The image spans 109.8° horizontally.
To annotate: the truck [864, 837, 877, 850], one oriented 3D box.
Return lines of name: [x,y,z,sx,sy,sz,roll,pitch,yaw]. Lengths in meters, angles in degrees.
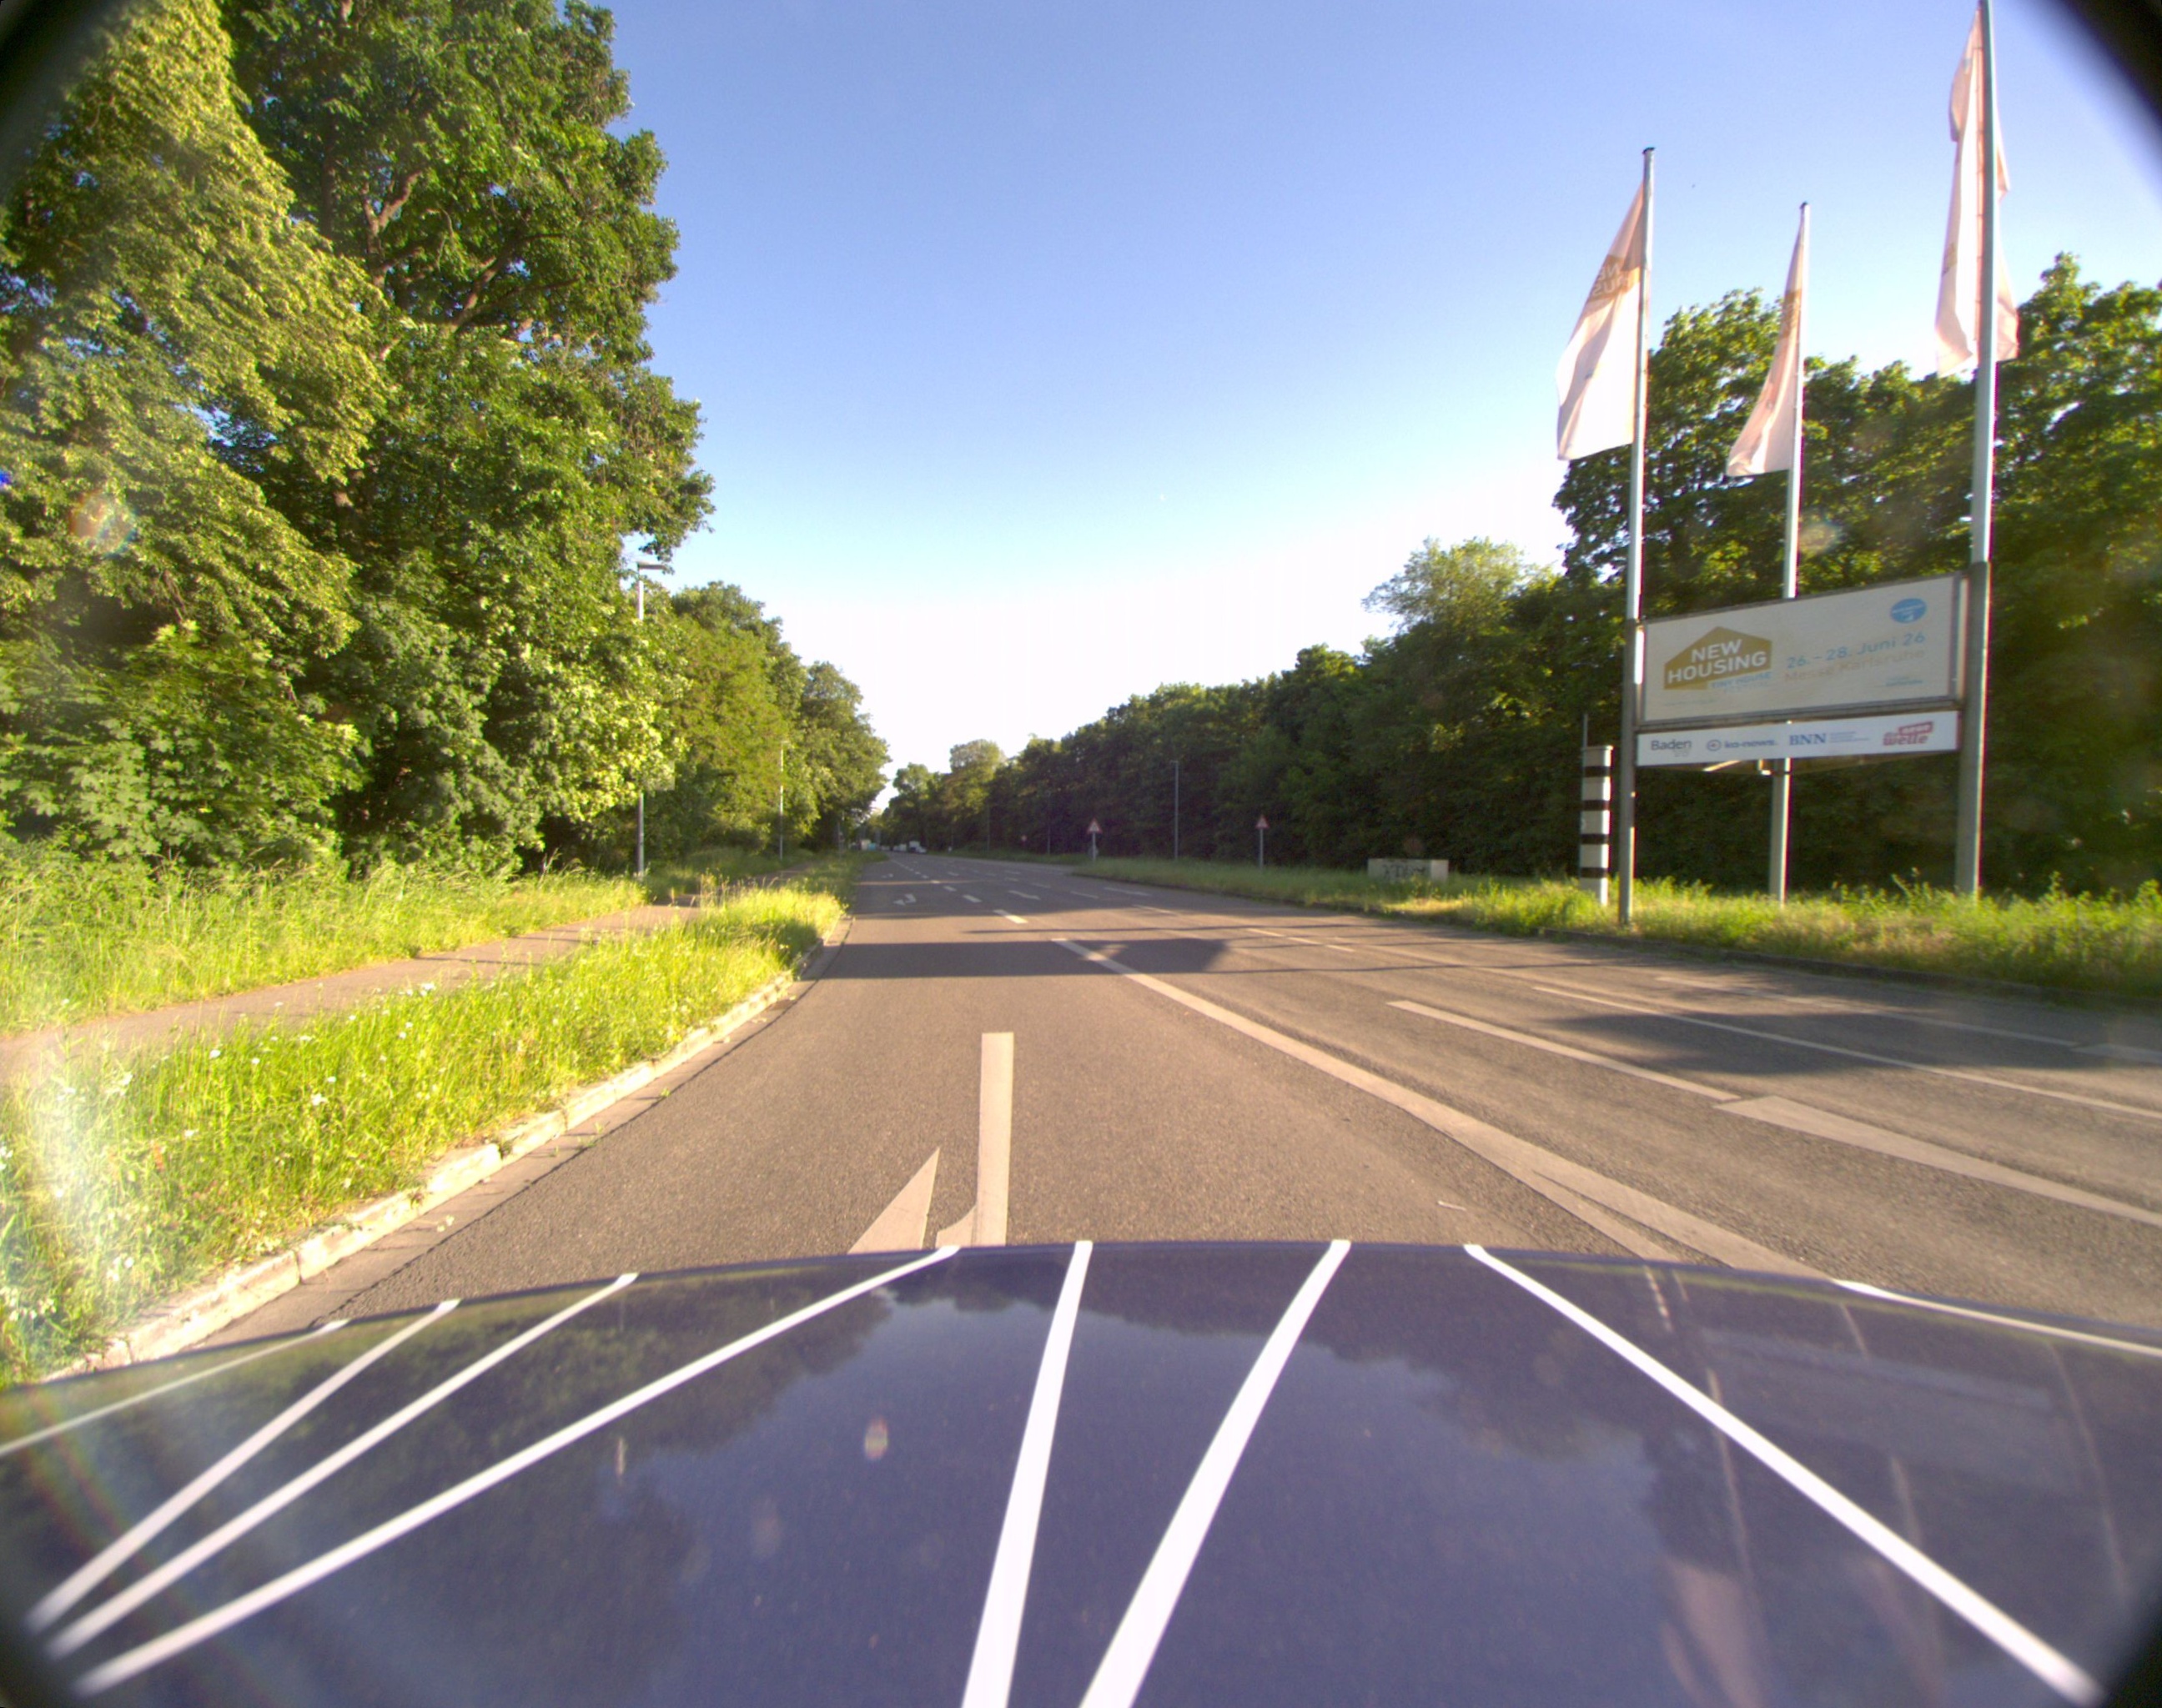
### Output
truck: [-48.131,-2.435,173.331,2.393,2.856,5.588,-2,2,-19]

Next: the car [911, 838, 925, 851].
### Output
car: [-38.721,-2.244,180.447,2.464,2.831,4.790,1,1,-19]

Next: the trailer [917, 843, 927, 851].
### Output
trailer: [-35.413,-1.502,169.051,1.809,1.719,3.641,1,1,-19]

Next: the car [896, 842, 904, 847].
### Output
car: [-52.956,-2.768,222.739,1.809,1.496,3.905,1,1,-19]

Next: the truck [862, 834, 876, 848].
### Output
truck: [-51.135,-3.132,182.833,2.710,3.219,7.115,1,1,-19]

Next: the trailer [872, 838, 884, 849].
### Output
trailer: [-41.902,-2.245,156.783,1.872,2.166,4.121,-1,2,-19]

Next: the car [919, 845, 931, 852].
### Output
car: [-33.679,-1.138,164.276,1.918,1.455,4.004,2,1,-19]

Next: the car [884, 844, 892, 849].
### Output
car: [-57.735,-2.340,227.249,1.836,1.447,4.472,0,1,-20]

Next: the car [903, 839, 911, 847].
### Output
car: [-48.323,-2.957,211.066,1.694,2.089,4.624,1,1,-19]
